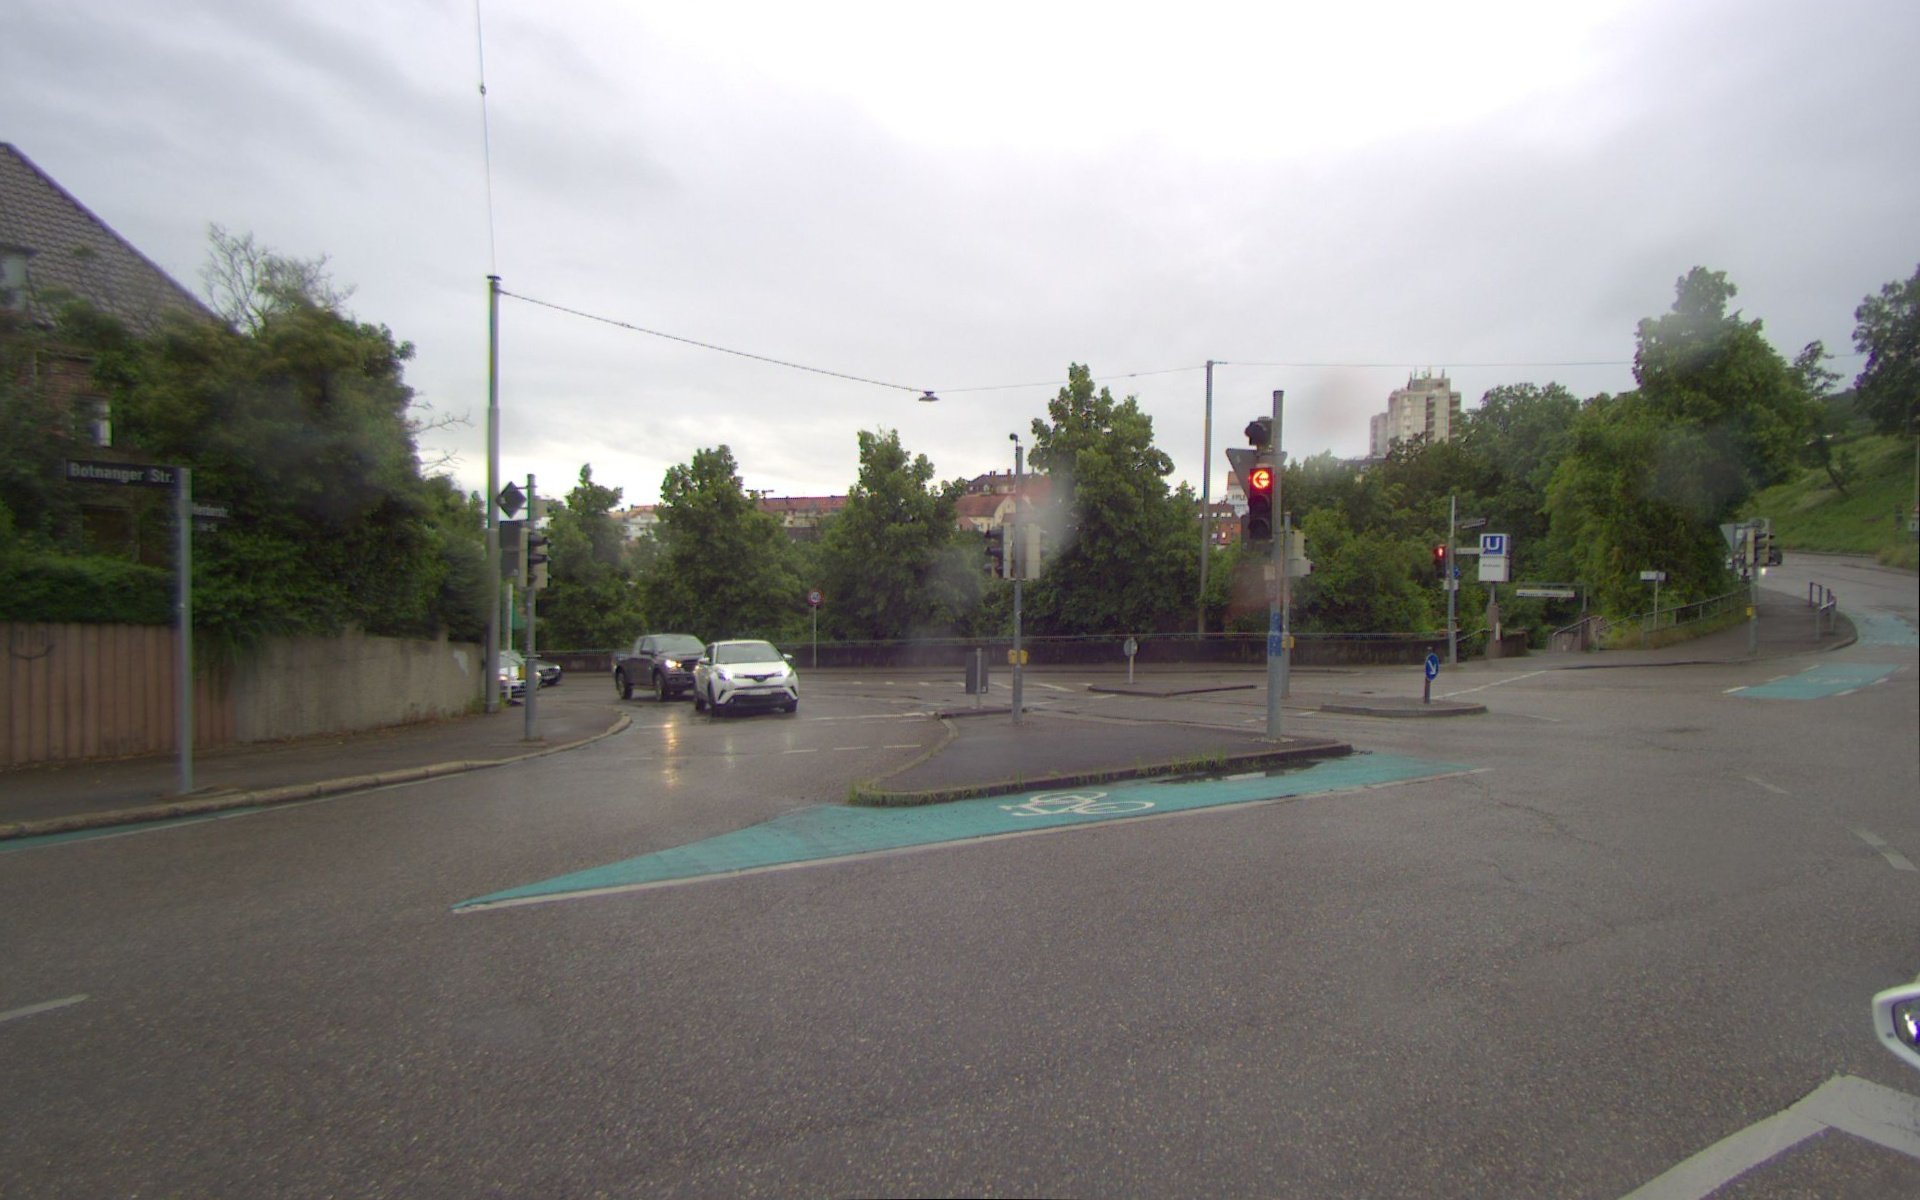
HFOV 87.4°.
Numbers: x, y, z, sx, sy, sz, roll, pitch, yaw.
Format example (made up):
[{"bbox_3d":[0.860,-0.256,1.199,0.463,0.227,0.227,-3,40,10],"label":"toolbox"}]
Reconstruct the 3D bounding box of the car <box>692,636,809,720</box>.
[{"bbox_3d":[-4.588,1.633,21.615,1.810,1.527,3.866,-2,-2,-21],"label":"car"}]

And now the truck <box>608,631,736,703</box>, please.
[{"bbox_3d":[-8.331,1.925,28.763,1.890,1.809,4.940,-2,-3,-36],"label":"truck"}]

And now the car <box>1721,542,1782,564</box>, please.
[{"bbox_3d":[58.090,-3.444,73.709,4.350,1.532,1.947,-2,3,-29],"label":"car"}]

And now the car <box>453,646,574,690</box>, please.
[{"bbox_3d":[-17.585,2.673,39.536,4.406,1.527,1.978,-3,-1,27],"label":"car"}]

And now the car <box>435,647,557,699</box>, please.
[{"bbox_3d":[-16.446,2.563,35.570,4.238,1.653,1.853,-2,-1,31],"label":"car"}]
